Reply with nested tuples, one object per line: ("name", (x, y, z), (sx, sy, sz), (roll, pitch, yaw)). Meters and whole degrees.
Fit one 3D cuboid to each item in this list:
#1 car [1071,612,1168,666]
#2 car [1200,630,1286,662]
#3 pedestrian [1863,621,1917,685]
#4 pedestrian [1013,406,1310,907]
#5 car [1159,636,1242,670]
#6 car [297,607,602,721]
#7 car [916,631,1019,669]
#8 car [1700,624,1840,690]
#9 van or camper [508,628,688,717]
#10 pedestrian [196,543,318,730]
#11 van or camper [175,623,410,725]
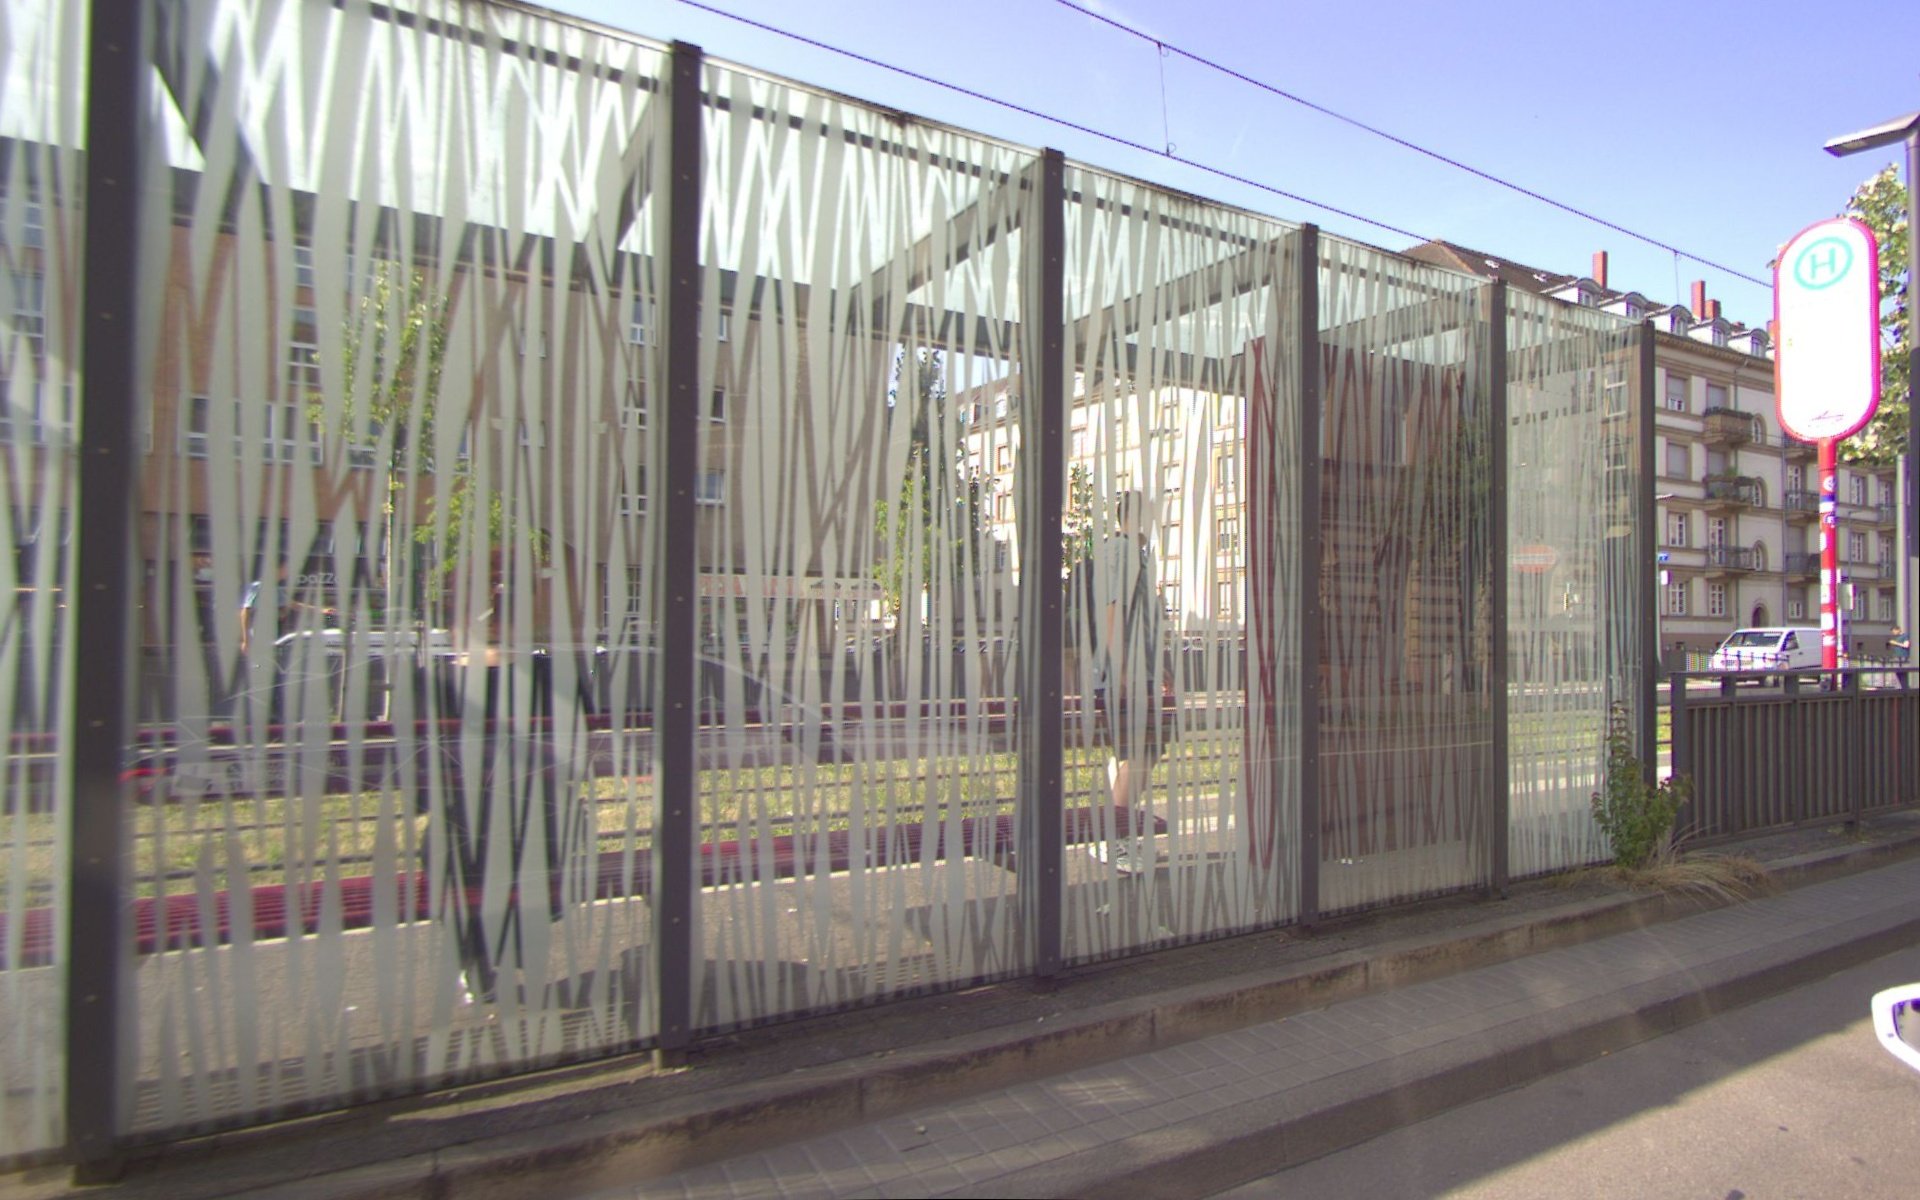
("car", (8.195, 1.979, 51.323), (5.005, 2.617, 1.980), (1, -2, -36))
("car", (12.903, 2.070, 45.766), (3.959, 1.424, 1.663), (1, -2, -34))
("pedestrian", (28.180, 1.604, 30.449), (1.053, 1.892, 0.861), (0, -2, 34))
("pedestrian", (0.931, 0.238, 4.708), (1.017, 2.040, 0.828), (2, 1, -32))
("car", (11.421, 2.505, 47.678), (3.885, 1.553, 1.663), (1, -2, -34))
("car", (-8.797, 1.093, 17.822), (4.563, 1.829, 1.990), (1, -2, -22))
("car", (0.334, 2.103, 42.744), (3.954, 1.528, 1.984), (1, -2, -31))
("car", (26.983, 1.855, 33.422), (4.873, 2.040, 1.985), (1, -2, -30))
("van or camper", (-8.729, 1.684, 24.252), (3.945, 1.994, 1.925), (1, -2, -24))
("pedestrian", (-7.482, 0.392, 10.742), (0.927, 1.897, 0.736), (1, -2, -27))
("van or camper", (-14.368, 1.544, 21.930), (3.944, 2.040, 1.989), (1, -2, -24))
